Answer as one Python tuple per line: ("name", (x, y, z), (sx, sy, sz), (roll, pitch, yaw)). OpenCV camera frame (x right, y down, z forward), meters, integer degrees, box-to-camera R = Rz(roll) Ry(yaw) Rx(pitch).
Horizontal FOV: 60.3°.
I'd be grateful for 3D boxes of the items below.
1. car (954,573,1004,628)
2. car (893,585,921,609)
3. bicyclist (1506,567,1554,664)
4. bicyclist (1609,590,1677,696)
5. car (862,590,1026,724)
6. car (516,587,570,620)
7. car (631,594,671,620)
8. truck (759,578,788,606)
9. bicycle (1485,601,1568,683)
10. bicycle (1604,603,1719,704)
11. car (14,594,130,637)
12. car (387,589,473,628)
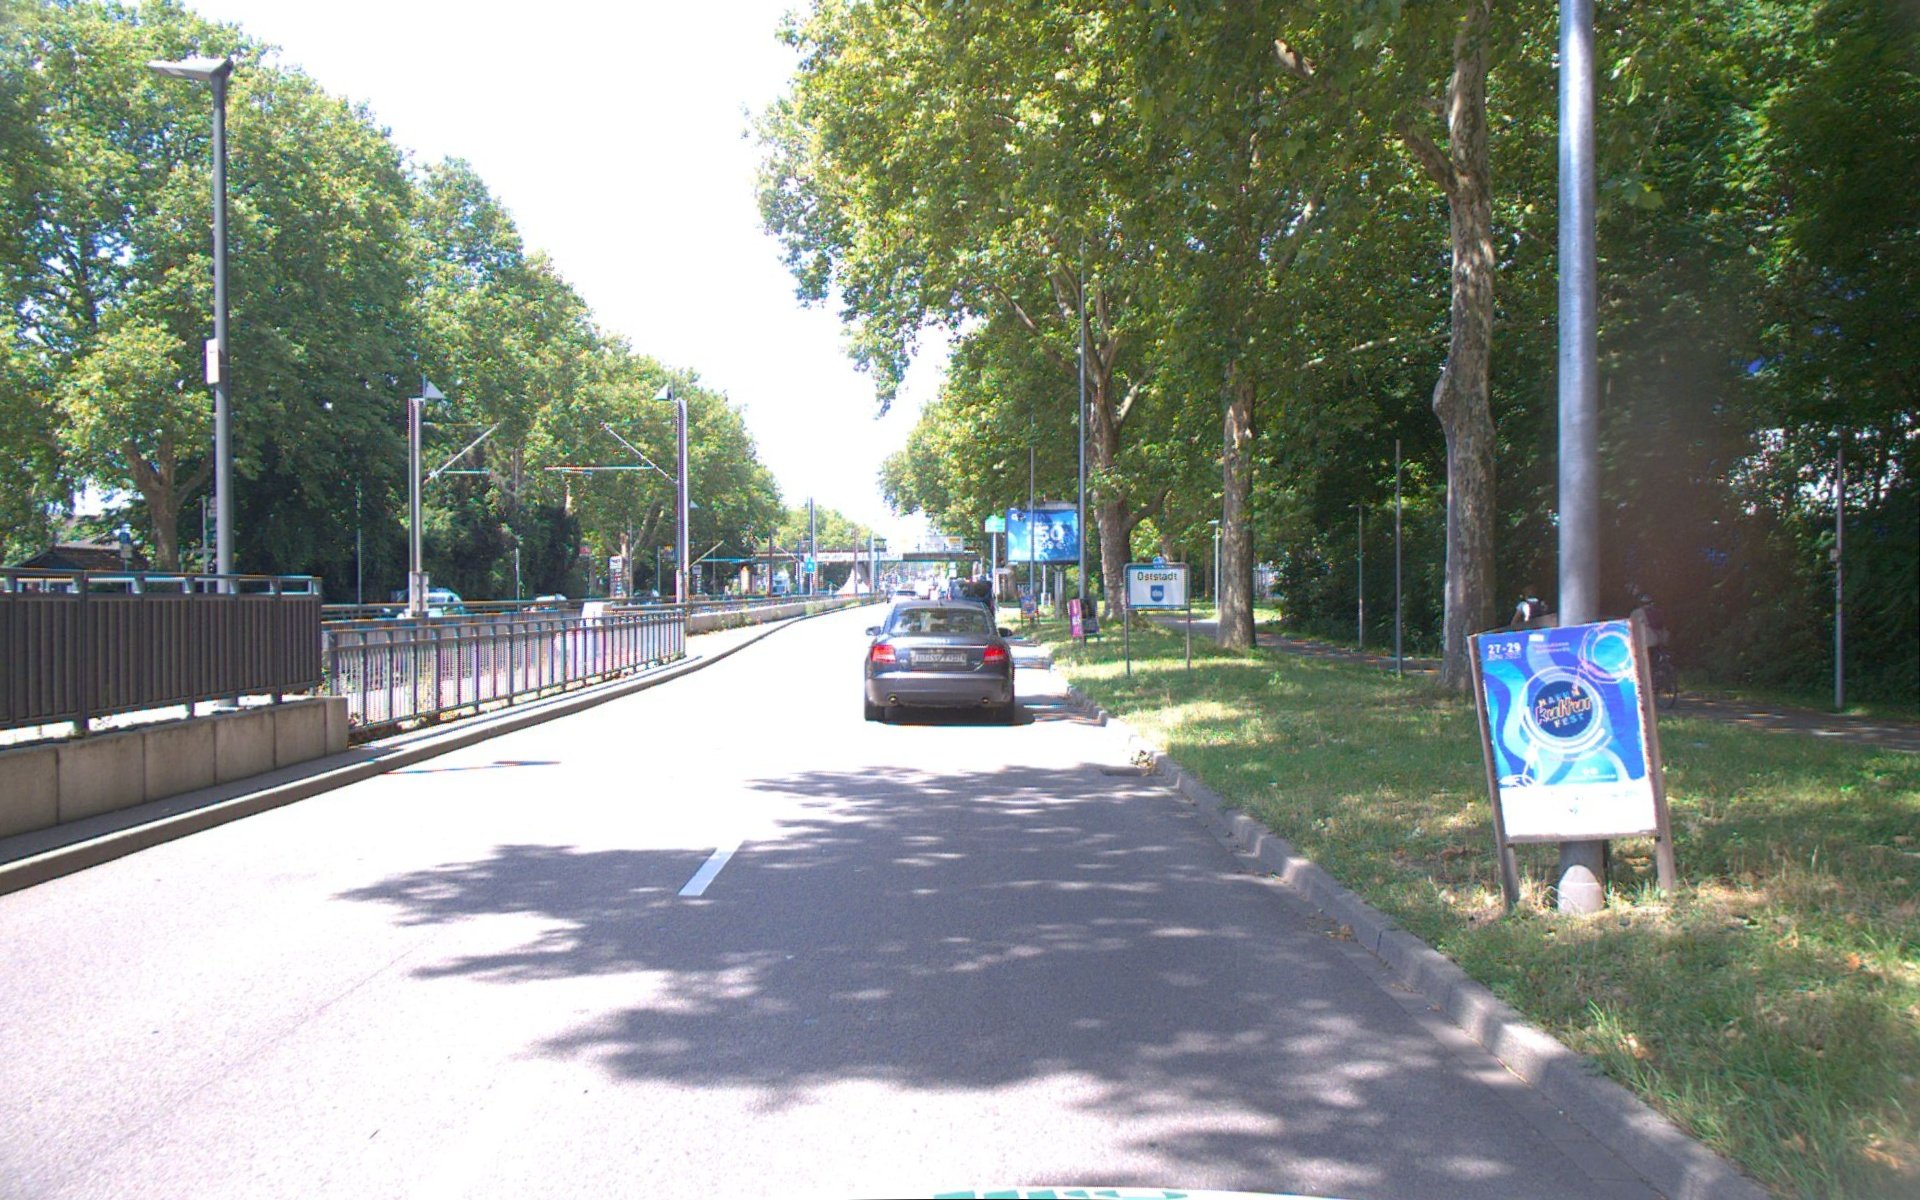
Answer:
("car", (0.743, 0.023, 63.332), (1.810, 1.993, 4.145), (1, 0, 1))
("car", (-3.453, -0.206, 107.052), (1.808, 1.489, 3.998), (0, 0, -3))
("bicyclist", (10.632, 0.288, 30.884), (0.585, 1.776, 0.843), (1, 0, -1))
("bicyclist", (10.730, 0.665, 26.009), (0.645, 1.627, 1.053), (0, 0, -1))
("car", (-0.295, 0.630, 20.626), (1.806, 1.510, 3.997), (0, 0, -4))
("car", (-22.420, 0.181, 89.122), (1.708, 1.713, 4.385), (0, 0, 1))
("car", (-21.740, 0.504, 116.633), (1.829, 1.713, 4.385), (3, 0, 1))
("truck", (-20.719, -0.874, 183.936), (2.932, 3.073, 7.992), (0, 0, -5))
("bicycle", (10.531, 0.747, 30.842), (0.598, 1.444, 2.661), (0, 0, -1))
("bicycle", (10.799, 0.783, 25.562), (0.598, 1.444, 2.661), (0, 0, -1))
("car", (-31.512, 0.548, 58.766), (3.258, 1.501, 1.649), (0, 0, -12))
("car", (-17.906, 0.271, 56.039), (1.611, 1.287, 3.838), (0, 0, 1))
